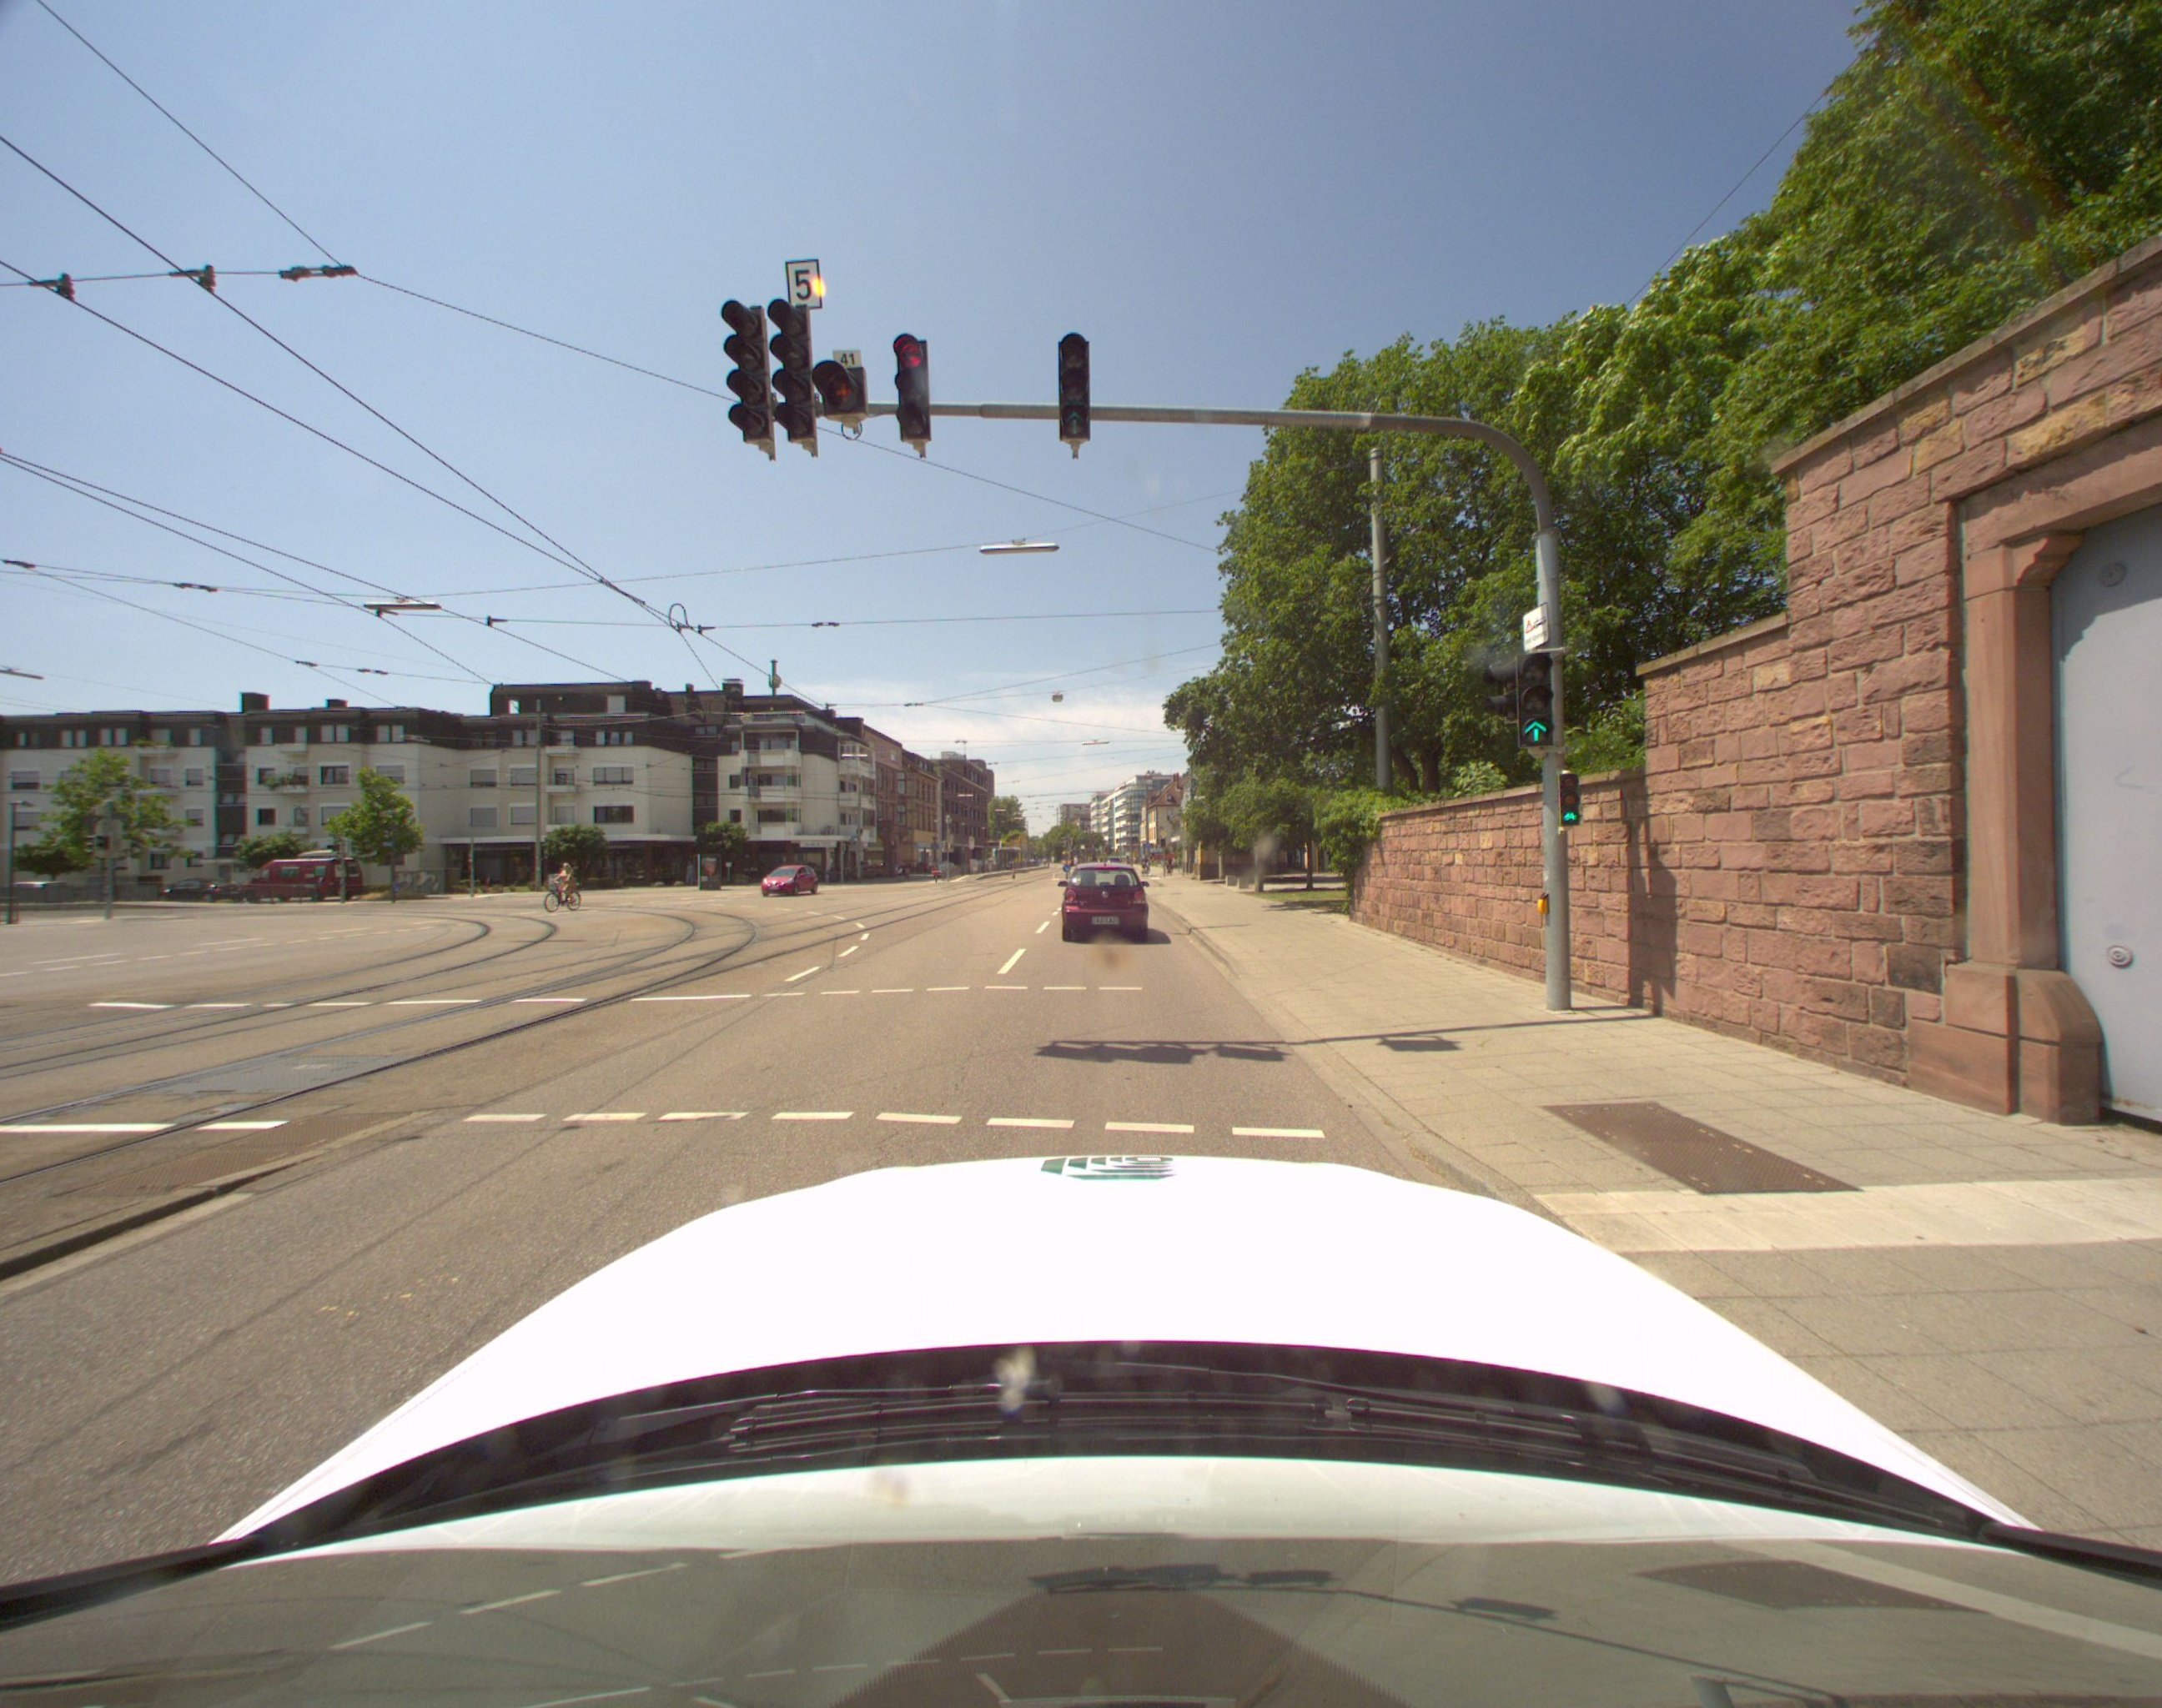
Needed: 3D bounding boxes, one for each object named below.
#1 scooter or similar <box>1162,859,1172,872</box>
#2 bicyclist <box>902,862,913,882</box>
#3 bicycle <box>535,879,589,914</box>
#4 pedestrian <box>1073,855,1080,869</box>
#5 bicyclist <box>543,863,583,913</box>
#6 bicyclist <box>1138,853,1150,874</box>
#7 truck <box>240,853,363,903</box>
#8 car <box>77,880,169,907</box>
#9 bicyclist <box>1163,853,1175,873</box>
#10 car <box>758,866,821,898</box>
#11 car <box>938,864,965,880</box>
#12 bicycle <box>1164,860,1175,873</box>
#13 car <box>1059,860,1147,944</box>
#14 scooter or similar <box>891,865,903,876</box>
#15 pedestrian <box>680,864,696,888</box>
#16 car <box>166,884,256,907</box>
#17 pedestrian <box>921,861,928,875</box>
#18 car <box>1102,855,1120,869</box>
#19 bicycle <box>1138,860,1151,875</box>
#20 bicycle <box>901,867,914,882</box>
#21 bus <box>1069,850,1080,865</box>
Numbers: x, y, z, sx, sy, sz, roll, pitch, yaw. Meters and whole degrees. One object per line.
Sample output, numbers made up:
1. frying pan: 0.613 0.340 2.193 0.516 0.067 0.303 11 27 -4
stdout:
1. scooter or similar: 8.047 1.107 76.299 0.340 1.178 1.457 -1 -1 -22
2. bicyclist: -15.700 1.620 73.803 0.730 1.762 1.134 -1 0 0
3. bicycle: -19.270 1.554 30.266 0.692 1.149 1.932 -1 1 1
4. pedestrian: -0.544 0.918 94.772 0.760 1.674 1.101 -1 -1 3
5. bicyclist: -19.267 1.245 30.325 0.692 1.765 1.138 -1 0 1
6. bicyclist: 5.372 0.791 69.317 0.720 1.760 0.929 -2 0 29
7. truck: -44.954 1.372 47.041 5.006 2.698 2.188 -1 0 2
8. car: -55.693 2.299 47.386 3.555 1.433 1.591 -1 0 2
9. bicyclist: 7.454 0.755 68.941 0.829 1.618 0.860 -5 1 1
10. car: -14.916 1.391 41.888 1.617 1.484 3.833 -1 0 4
11. car: -12.390 1.693 78.007 1.702 1.438 3.869 -1 0 3
12. bicycle: 7.500 1.079 68.916 0.666 1.002 1.864 -5 1 1
13. car: 0.440 0.876 16.140 1.555 1.453 3.062 -1 0 1
14. scooter or similar: -19.160 1.702 84.881 0.484 1.082 1.584 -2 0 19
15. pedestrian: -28.955 1.619 60.022 0.696 1.696 0.808 -1 -1 2
16. car: -50.760 2.412 47.550 3.555 1.219 1.591 -1 0 2
17. pedestrian: -17.190 1.508 89.462 0.612 1.560 0.640 -1 0 1
18. car: 3.507 0.927 95.455 1.986 1.624 4.634 -1 0 2
19. bicycle: 5.396 1.112 69.154 0.372 1.197 1.917 -2 0 29
20. bicycle: -15.723 1.861 73.686 0.674 1.304 2.104 -1 0 0
21. bus: -1.431 0.792 172.917 2.137 3.003 6.574 -1 0 1
